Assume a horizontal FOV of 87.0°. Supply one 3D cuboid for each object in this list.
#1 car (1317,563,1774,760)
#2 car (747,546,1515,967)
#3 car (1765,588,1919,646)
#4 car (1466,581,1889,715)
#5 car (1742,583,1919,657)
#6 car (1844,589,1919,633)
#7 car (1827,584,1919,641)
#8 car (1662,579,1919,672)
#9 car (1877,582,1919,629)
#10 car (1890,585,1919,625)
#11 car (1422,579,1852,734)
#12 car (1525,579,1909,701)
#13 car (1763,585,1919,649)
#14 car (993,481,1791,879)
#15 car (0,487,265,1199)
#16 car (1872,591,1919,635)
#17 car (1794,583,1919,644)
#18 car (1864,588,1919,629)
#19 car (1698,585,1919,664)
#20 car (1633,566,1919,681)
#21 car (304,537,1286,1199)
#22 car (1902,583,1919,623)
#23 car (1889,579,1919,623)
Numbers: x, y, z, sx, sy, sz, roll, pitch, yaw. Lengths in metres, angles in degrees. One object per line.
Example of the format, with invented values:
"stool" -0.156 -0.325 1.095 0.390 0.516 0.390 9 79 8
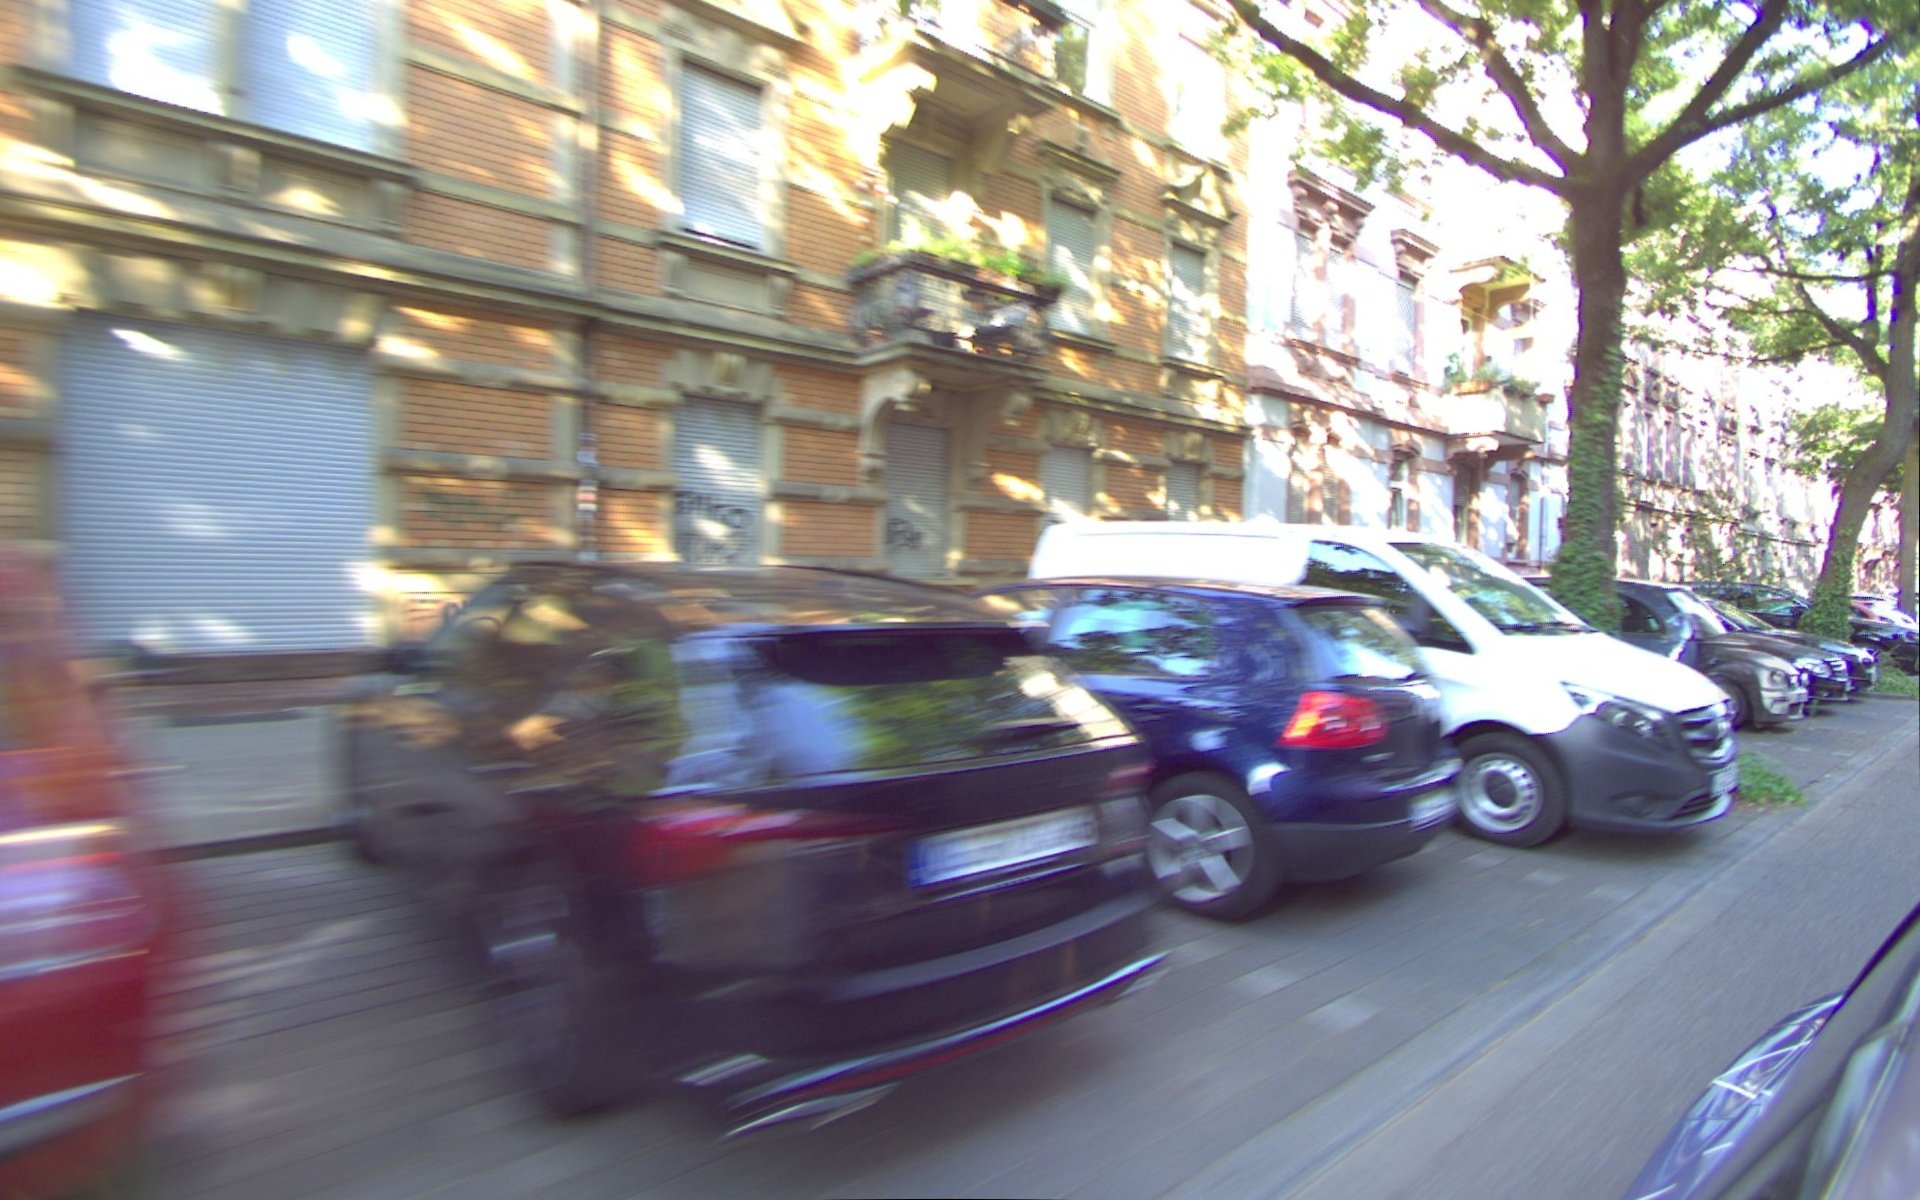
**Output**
"car" 6.075 0.480 10.833 1.696 1.669 3.889 0 2 -43
"car" 0.715 0.515 5.792 3.986 1.492 1.755 5 3 42
"car" 25.894 0.471 29.031 1.769 1.488 4.110 1 1 -39
"car" 10.168 0.548 14.677 1.898 1.521 4.668 0 2 -41
"car" 21.177 0.452 23.889 1.649 1.404 3.996 0 5 -41
"car" 35.348 0.425 37.304 1.659 1.513 3.991 0 2 -43
"car" 30.473 0.403 31.918 1.858 1.676 4.487 -2 3 -39
"car" 16.995 0.444 20.757 1.753 1.610 3.991 0 2 -44
"car" 39.547 0.264 40.353 1.910 1.810 4.136 0 2 -39
"car" 42.915 0.367 42.937 2.044 1.652 4.927 0 5 -44
"car" 8.262 0.553 12.674 1.779 1.521 4.115 0 2 -40
"car" 11.879 0.506 16.174 1.964 1.548 4.563 0 2 -39
"car" 24.156 0.435 26.873 1.771 1.555 4.227 0 2 -43
"car" 2.755 0.240 7.607 2.122 1.962 5.102 -4 5 -40
"car" -3.284 0.487 2.827 1.811 1.516 4.090 0 2 -40
"car" 34.138 0.500 34.758 1.657 1.474 3.996 0 2 -40
"car" 28.042 0.381 30.311 1.859 1.676 4.483 -2 3 -42
"car" 37.439 0.416 38.623 1.903 1.472 4.153 0 4 -42
"car" 18.963 0.480 22.380 1.753 1.480 3.991 0 2 -44
"car" 15.369 0.355 18.613 1.851 1.723 4.650 0 4 -44
"car" -1.177 0.529 4.063 1.900 1.473 4.379 0 2 -40
"car" 47.744 0.258 47.571 4.636 1.913 1.890 4 2 28
"car" 44.965 0.197 45.178 2.140 1.924 4.927 0 5 -44
